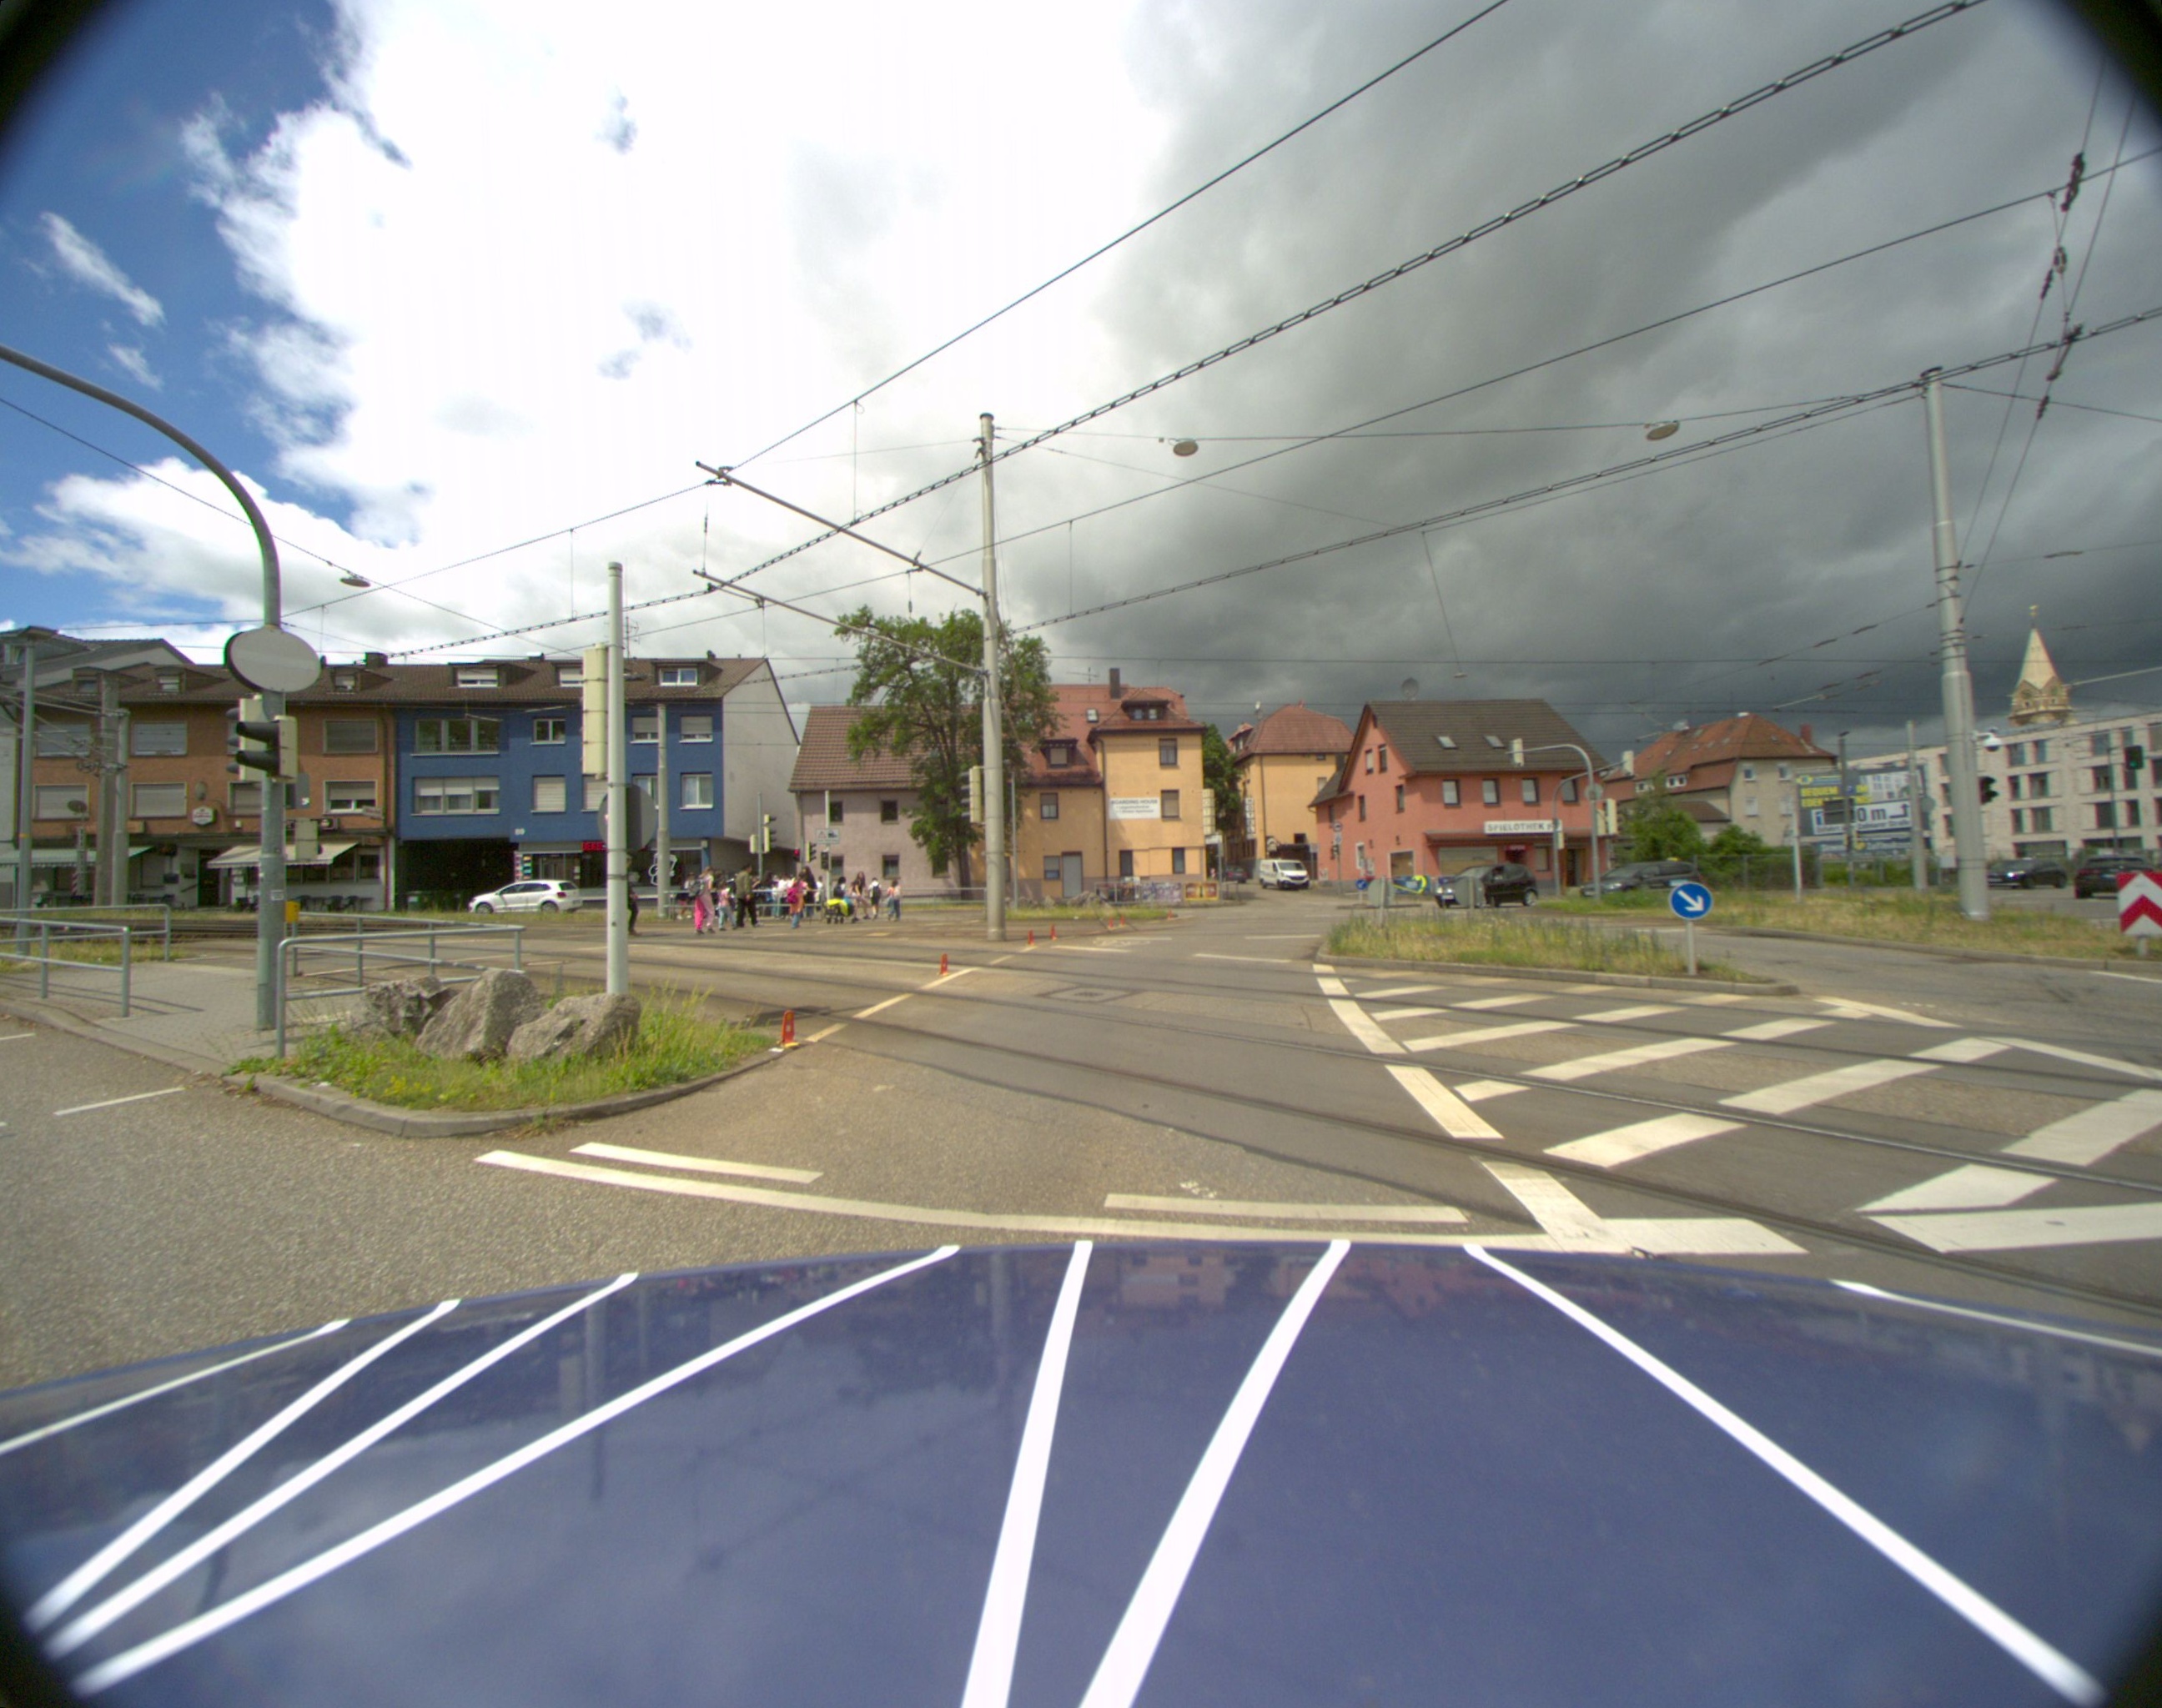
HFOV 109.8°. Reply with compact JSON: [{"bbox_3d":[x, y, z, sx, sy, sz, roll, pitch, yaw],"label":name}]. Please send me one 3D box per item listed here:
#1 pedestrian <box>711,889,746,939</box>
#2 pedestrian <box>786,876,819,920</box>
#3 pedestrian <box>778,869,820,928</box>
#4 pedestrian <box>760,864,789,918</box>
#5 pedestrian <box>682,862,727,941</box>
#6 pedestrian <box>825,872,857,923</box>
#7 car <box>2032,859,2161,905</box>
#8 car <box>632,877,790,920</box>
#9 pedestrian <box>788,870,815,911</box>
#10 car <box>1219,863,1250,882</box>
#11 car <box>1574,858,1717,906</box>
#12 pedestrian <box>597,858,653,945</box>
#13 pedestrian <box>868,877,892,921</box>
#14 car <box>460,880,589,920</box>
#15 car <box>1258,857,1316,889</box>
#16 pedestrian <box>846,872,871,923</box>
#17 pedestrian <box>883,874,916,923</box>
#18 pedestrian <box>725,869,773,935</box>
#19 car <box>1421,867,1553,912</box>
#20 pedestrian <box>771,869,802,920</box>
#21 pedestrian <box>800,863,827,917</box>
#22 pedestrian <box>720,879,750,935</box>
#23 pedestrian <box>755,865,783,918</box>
[{"bbox_3d":[-8.614,1.460,18.573,0.676,1.160,0.586,0,-1,-34],"label":"pedestrian"},{"bbox_3d":[-8.941,1.393,24.424,0.778,1.367,0.588,-1,1,24],"label":"pedestrian"},{"bbox_3d":[-7.253,1.121,19.524,0.856,1.472,0.740,0,-1,-34],"label":"pedestrian"},{"bbox_3d":[-9.926,1.193,24.606,0.675,1.739,0.587,-1,-1,-1],"label":"pedestrian"},{"bbox_3d":[-8.547,1.049,17.224,0.694,1.739,0.750,0,-1,-45],"label":"pedestrian"},{"bbox_3d":[-7.358,1.310,23.273,0.585,1.483,0.676,3,2,28],"label":"pedestrian"},{"bbox_3d":[38.305,0.983,28.764,1.948,1.560,4.498,1,1,39],"label":"car"},{"bbox_3d":[-13.529,1.629,28.020,4.854,1.362,1.920,-2,-2,-5],"label":"car"},{"bbox_3d":[-9.543,1.231,25.945,0.675,1.367,0.635,-1,-1,3],"label":"pedestrian"},{"bbox_3d":[12.290,1.511,61.032,1.562,1.362,3.132,-2,-3,-5],"label":"car"},{"bbox_3d":[21.686,1.086,29.229,4.422,1.639,1.999,-1,-3,-14],"label":"car"},{"bbox_3d":[-10.056,1.032,16.748,0.969,1.830,0.824,1,-2,-34],"label":"pedestrian"},{"bbox_3d":[-6.417,1.427,24.269,0.587,1.391,0.675,-1,-1,-1],"label":"pedestrian"},{"bbox_3d":[-23.037,1.899,31.567,3.998,1.522,1.712,-1,-2,-4],"label":"car"},{"bbox_3d":[13.453,1.244,49.965,2.081,1.886,4.661,-3,-1,-5],"label":"car"},{"bbox_3d":[-6.780,1.326,23.188,0.587,1.518,0.675,-1,0,-3],"label":"pedestrian"},{"bbox_3d":[-5.536,1.335,23.165,0.781,1.461,0.540,0,-1,-44],"label":"pedestrian"},{"bbox_3d":[-8.628,1.231,19.749,0.823,1.641,0.894,-2,-1,43],"label":"pedestrian"},{"bbox_3d":[14.524,1.259,27.245,4.003,1.419,1.881,-1,-3,-19],"label":"car"},{"bbox_3d":[-9.204,1.249,23.765,0.674,1.556,0.588,-1,0,16],"label":"pedestrian"},{"bbox_3d":[-8.895,1.193,25.254,0.675,1.739,0.587,-1,-1,-1],"label":"pedestrian"},{"bbox_3d":[-11.055,1.680,24.290,0.754,1.739,0.586,0,-1,-34],"label":"pedestrian"},{"bbox_3d":[-10.516,1.263,25.625,0.675,1.739,0.587,-1,-1,-1],"label":"pedestrian"}]
